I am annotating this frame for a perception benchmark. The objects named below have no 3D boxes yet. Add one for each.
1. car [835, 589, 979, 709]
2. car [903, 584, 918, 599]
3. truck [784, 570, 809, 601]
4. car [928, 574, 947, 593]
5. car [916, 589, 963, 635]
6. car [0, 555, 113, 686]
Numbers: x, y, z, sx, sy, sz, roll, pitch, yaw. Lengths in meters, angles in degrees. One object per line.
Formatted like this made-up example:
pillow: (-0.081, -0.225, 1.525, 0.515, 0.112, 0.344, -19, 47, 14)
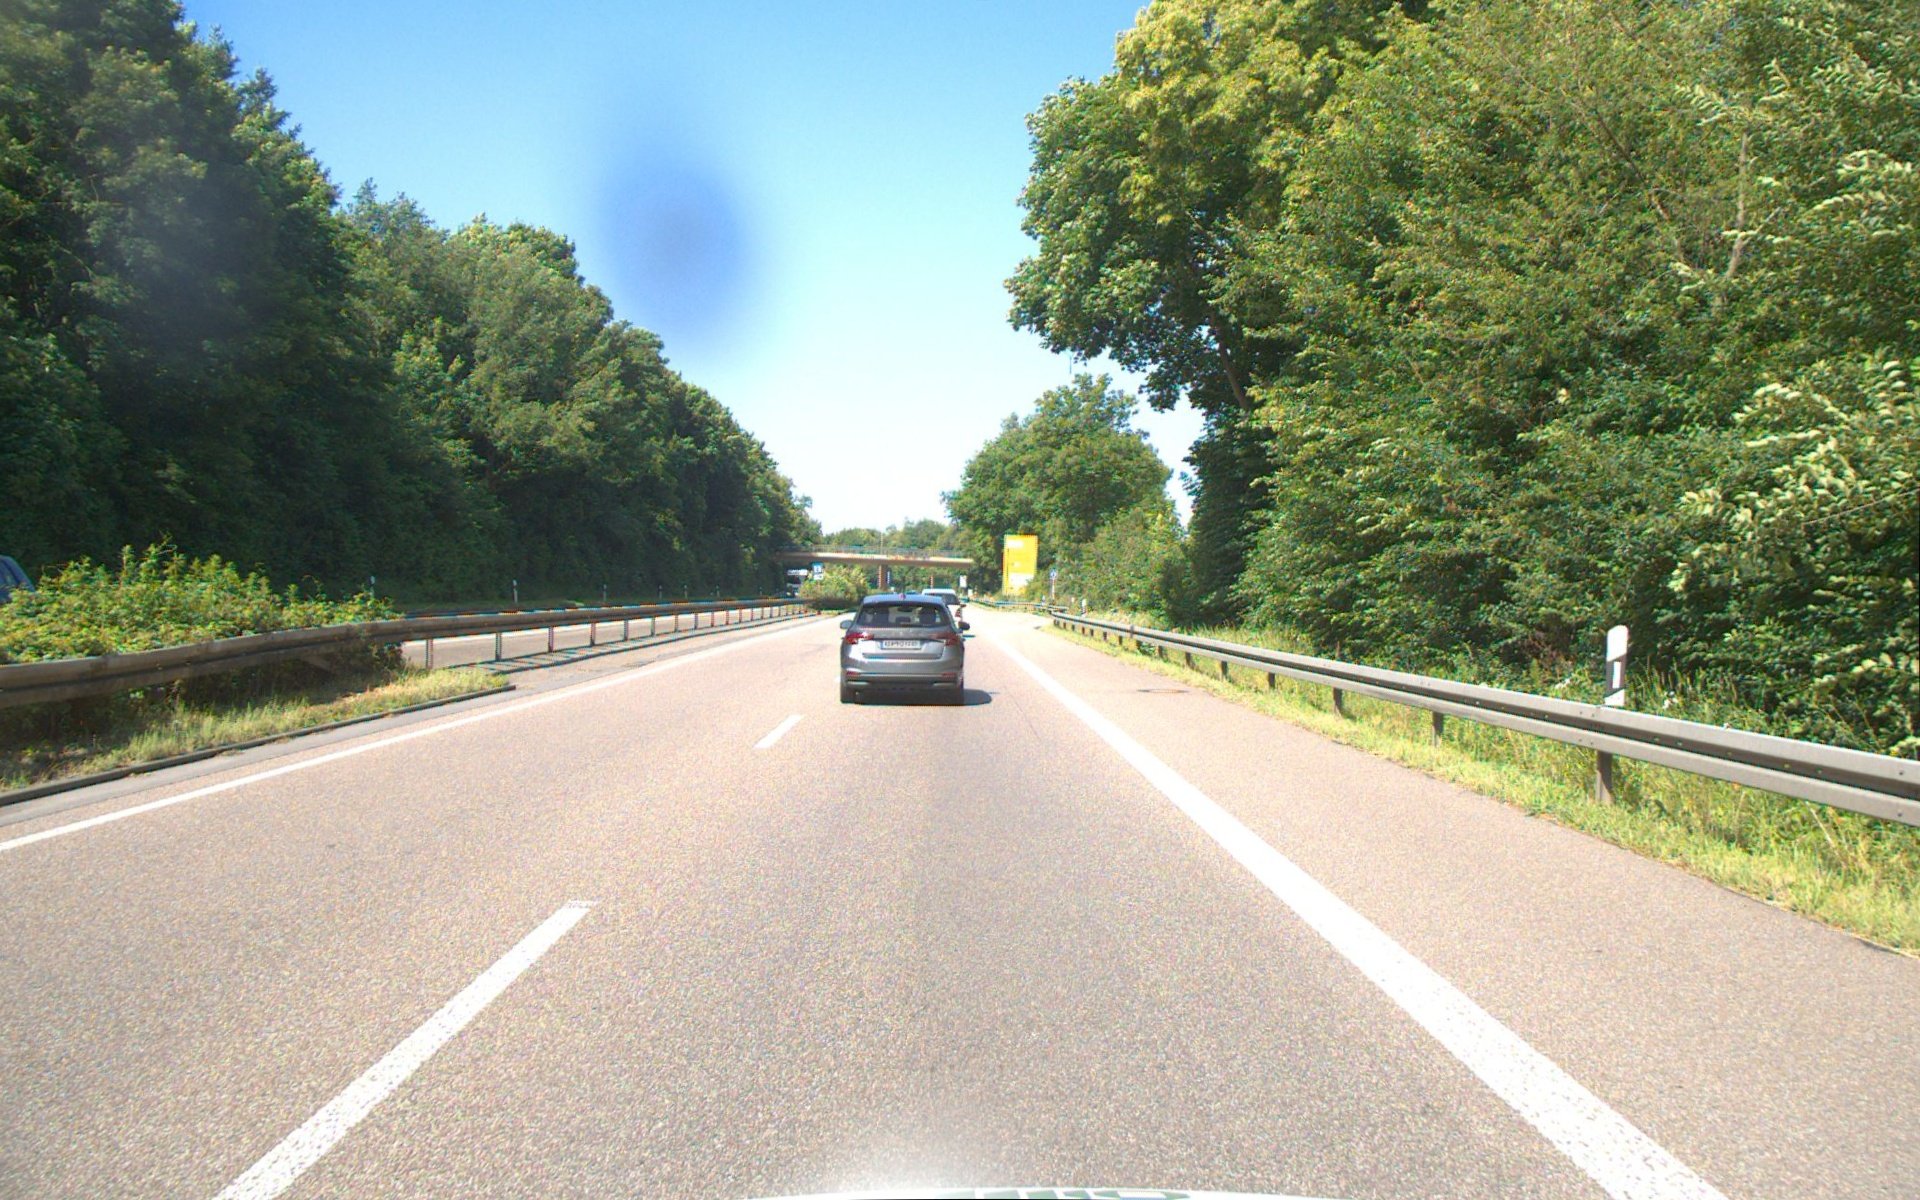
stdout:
car: (-0.660, 0.621, 23.066, 1.802, 1.497, 3.624, 1, 1, 1)
car: (-6.758, -1.201, 227.992, 1.953, 2.049, 3.999, 1, 0, -1)
truck: (-18.038, -1.603, 182.902, 2.375, 3.315, 3.999, 1, 0, -1)
car: (-3.295, -2.429, 241.638, 2.693, 2.700, 3.999, 1, 0, -1)
car: (-0.665, 0.377, 56.272, 1.491, 1.472, 3.340, 1, 1, 1)
car: (-11.775, 0.216, 19.518, 1.638, 1.499, 3.624, 1, 0, 1)
